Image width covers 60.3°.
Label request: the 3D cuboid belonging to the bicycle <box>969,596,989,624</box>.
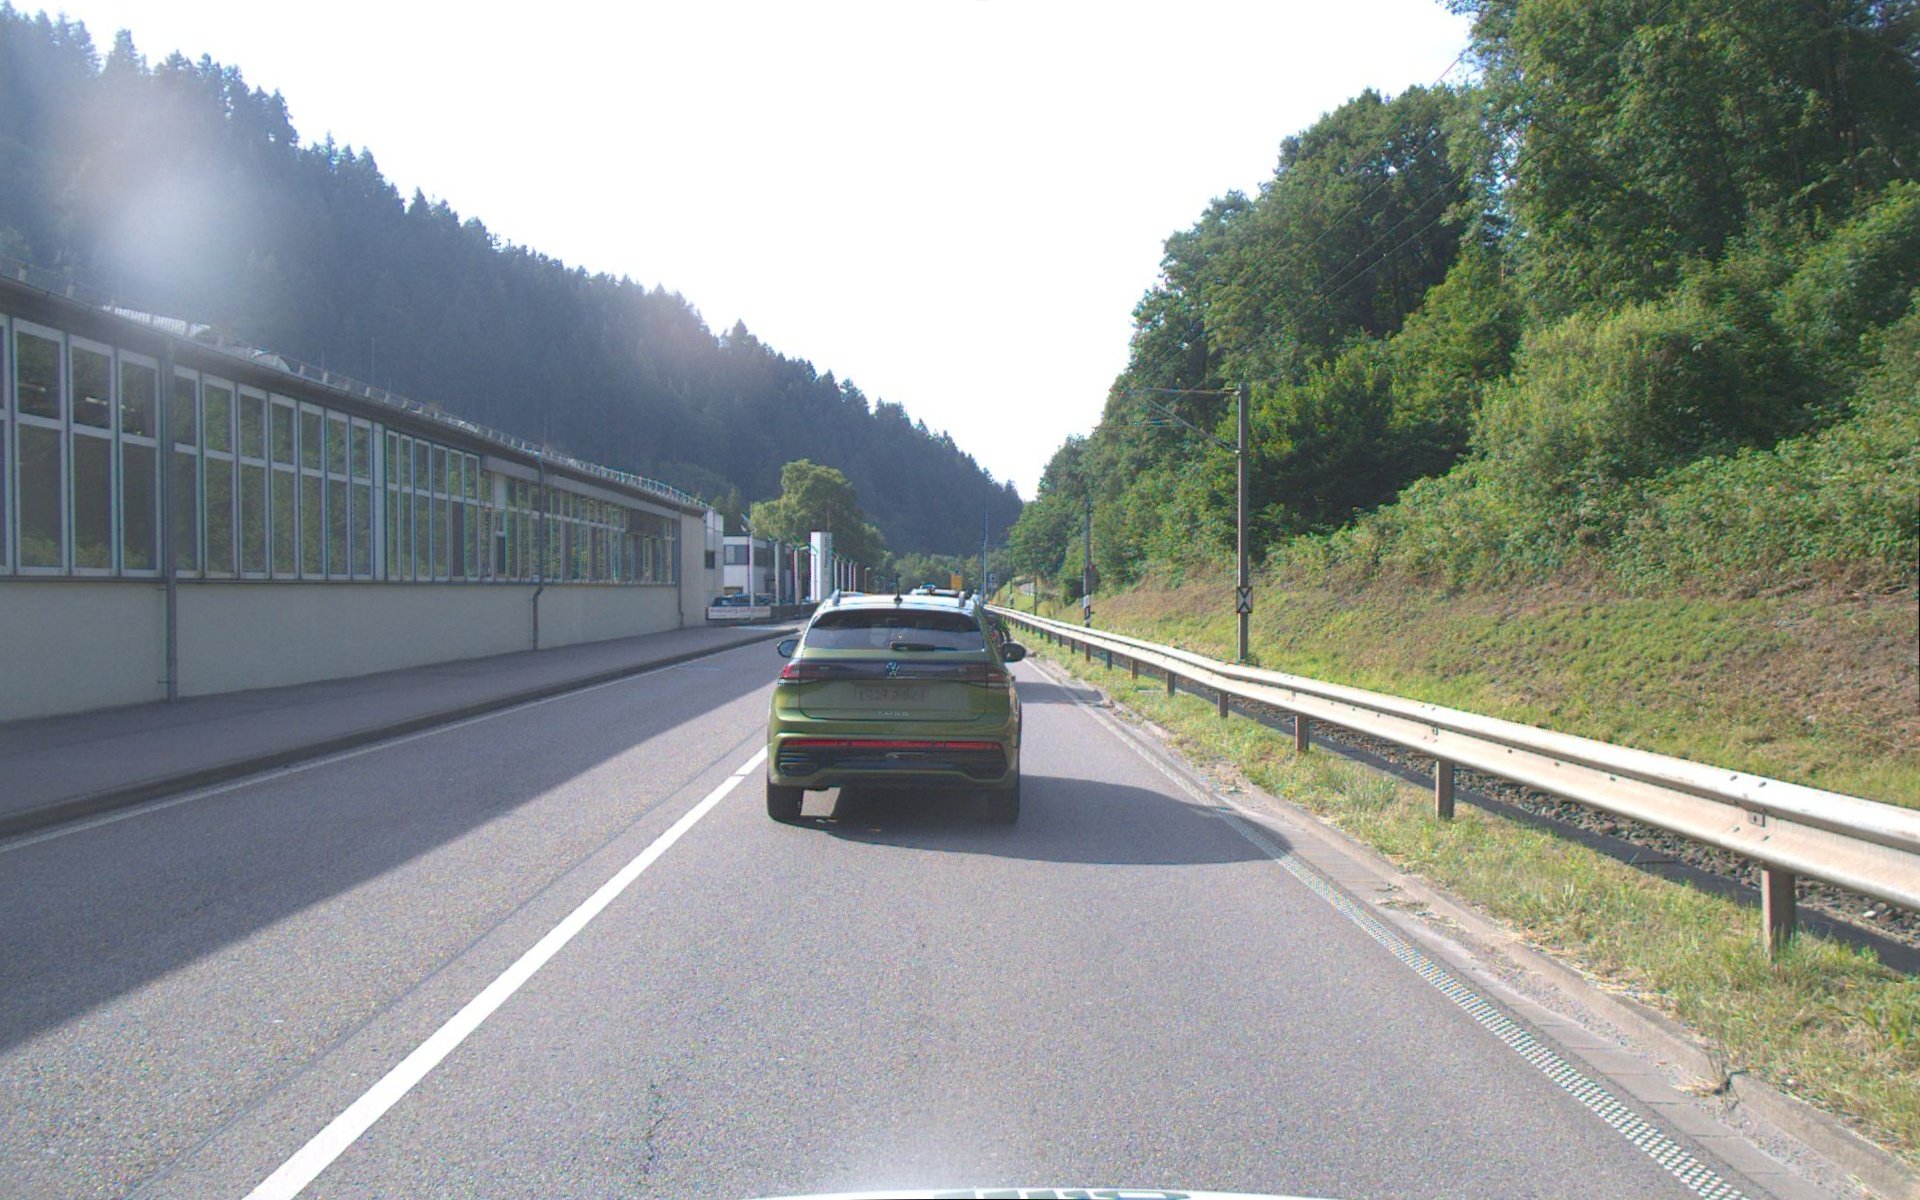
[{"bbox_3d":[0.877,0.455,76.469,0.795,1.272,2.121,0,0,-3],"label":"bicycle"}]

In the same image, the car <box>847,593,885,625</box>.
[{"bbox_3d":[-4.723,0.425,83.342,1.737,1.516,4.051,1,0,-1],"label":"car"}]

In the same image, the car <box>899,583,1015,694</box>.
[{"bbox_3d":[-0.103,0.562,26.439,1.704,1.630,3.999,1,0,-2],"label":"car"}]

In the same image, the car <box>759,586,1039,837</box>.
[{"bbox_3d":[-0.430,0.680,12.138,1.704,1.534,3.999,0,0,-2],"label":"car"}]

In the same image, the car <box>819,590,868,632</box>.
[{"bbox_3d":[-4.565,0.411,65.500,1.684,1.540,4.198,1,0,-1],"label":"car"}]

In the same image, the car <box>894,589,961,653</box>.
[{"bbox_3d":[-0.897,0.544,44.480,1.704,1.630,3.999,1,0,-2],"label":"car"}]

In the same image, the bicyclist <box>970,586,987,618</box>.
[{"bbox_3d":[0.861,0.087,76.586,0.766,1.436,0.674,0,0,-3],"label":"bicyclist"}]

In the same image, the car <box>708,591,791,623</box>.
[{"bbox_3d":[-10.868,0.340,85.571,1.854,1.619,4.152,0,0,40],"label":"car"}]
